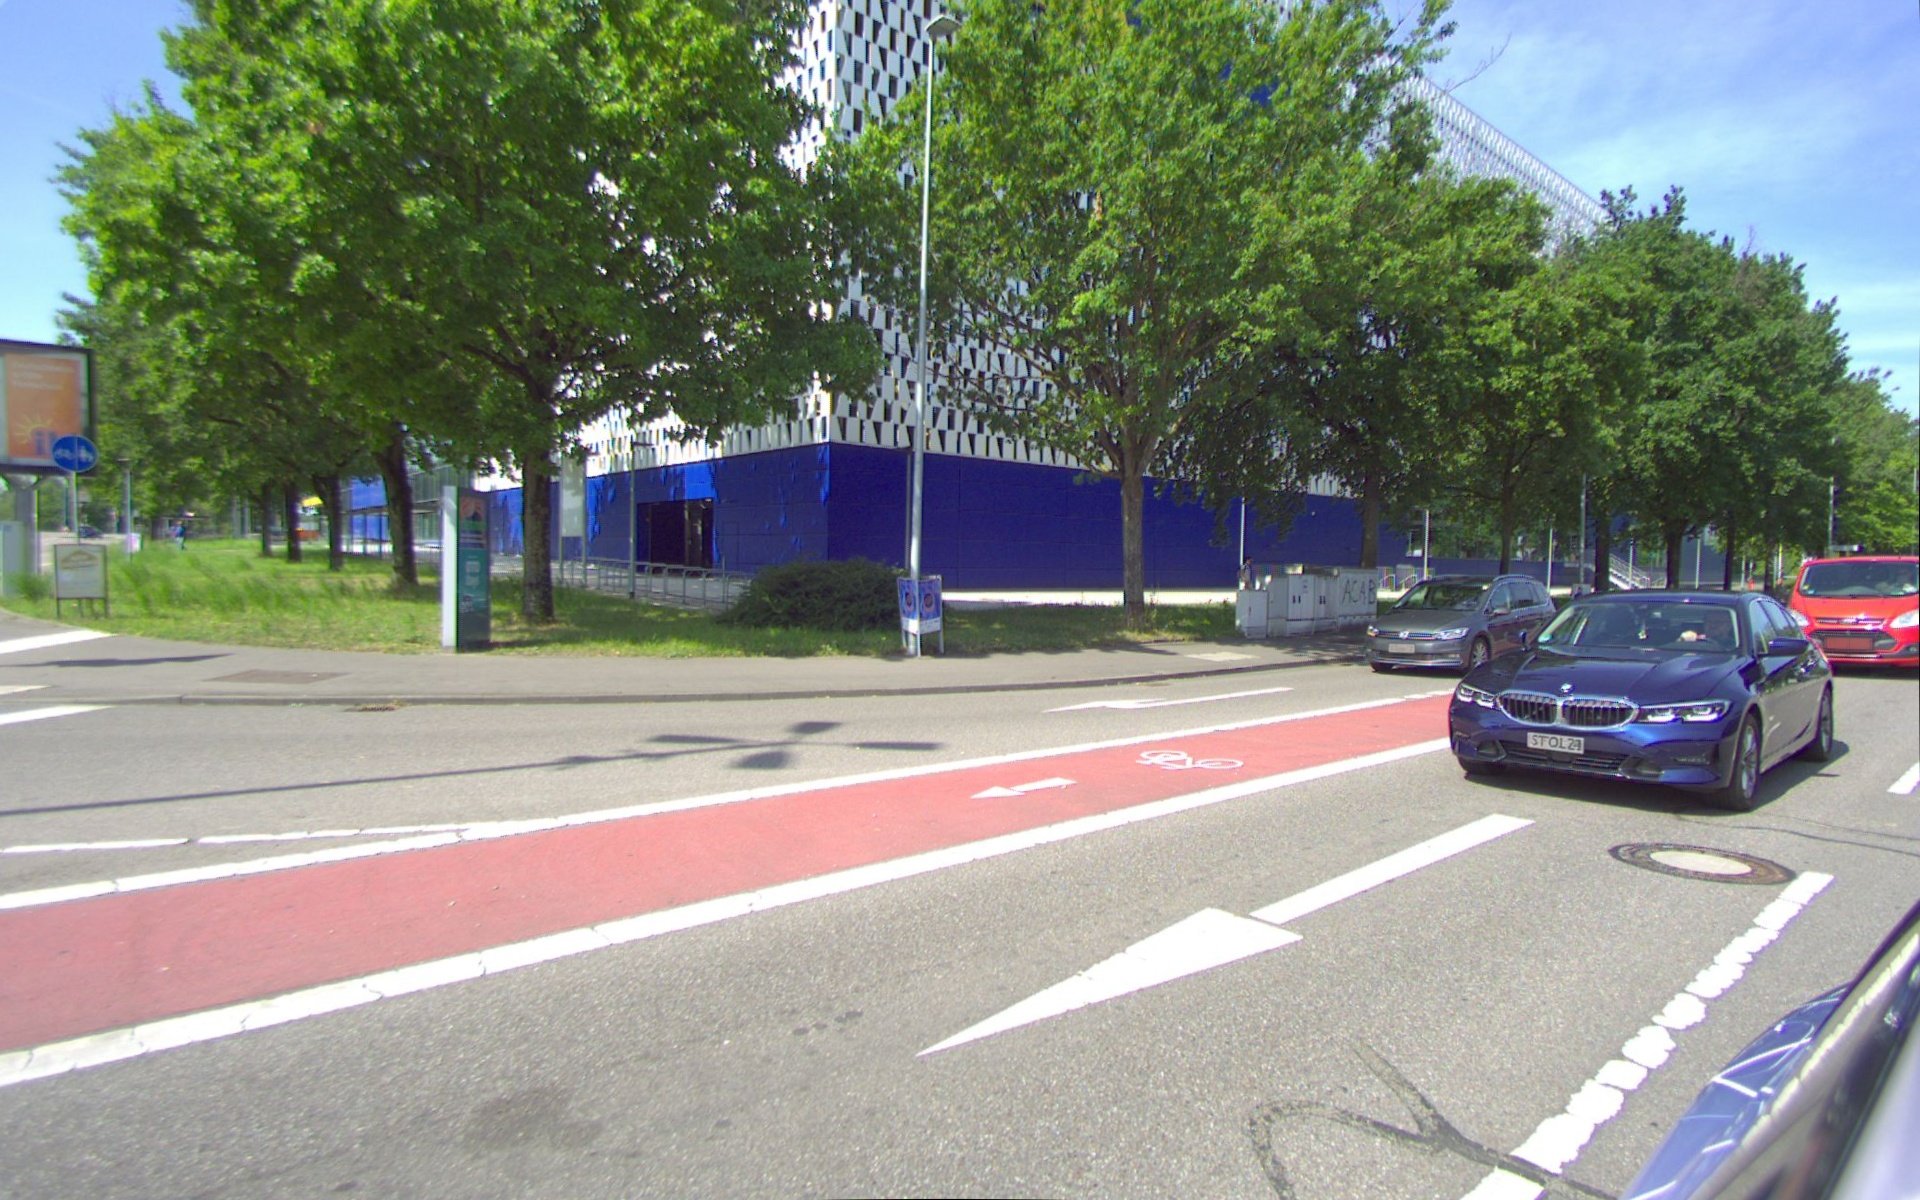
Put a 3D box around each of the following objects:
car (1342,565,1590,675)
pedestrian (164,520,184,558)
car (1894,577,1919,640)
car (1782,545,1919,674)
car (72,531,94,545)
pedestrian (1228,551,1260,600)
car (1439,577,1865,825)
[{"bbox_3d":[8.801,0.256,17.495,4.307,1.676,2.000,-1,1,-35],"label":"car"},{"bbox_3d":[-42.872,-3.319,55.210,0.597,2.039,0.673,-1,1,36],"label":"pedestrian"},{"bbox_3d":[23.885,0.172,24.405,3.849,1.440,1.690,-1,2,-42],"label":"car"},{"bbox_3d":[15.735,0.102,17.185,4.727,1.931,2.012,-1,1,-41],"label":"car"},{"bbox_3d":[-100.217,-7.052,115.622,1.611,1.554,3.916,-1,3,-37],"label":"car"},{"bbox_3d":[9.262,-0.797,33.009,0.767,1.565,0.680,-1,3,-40],"label":"pedestrian"},{"bbox_3d":[5.730,0.550,8.137,4.460,1.447,1.798,-1,2,-41],"label":"car"}]
